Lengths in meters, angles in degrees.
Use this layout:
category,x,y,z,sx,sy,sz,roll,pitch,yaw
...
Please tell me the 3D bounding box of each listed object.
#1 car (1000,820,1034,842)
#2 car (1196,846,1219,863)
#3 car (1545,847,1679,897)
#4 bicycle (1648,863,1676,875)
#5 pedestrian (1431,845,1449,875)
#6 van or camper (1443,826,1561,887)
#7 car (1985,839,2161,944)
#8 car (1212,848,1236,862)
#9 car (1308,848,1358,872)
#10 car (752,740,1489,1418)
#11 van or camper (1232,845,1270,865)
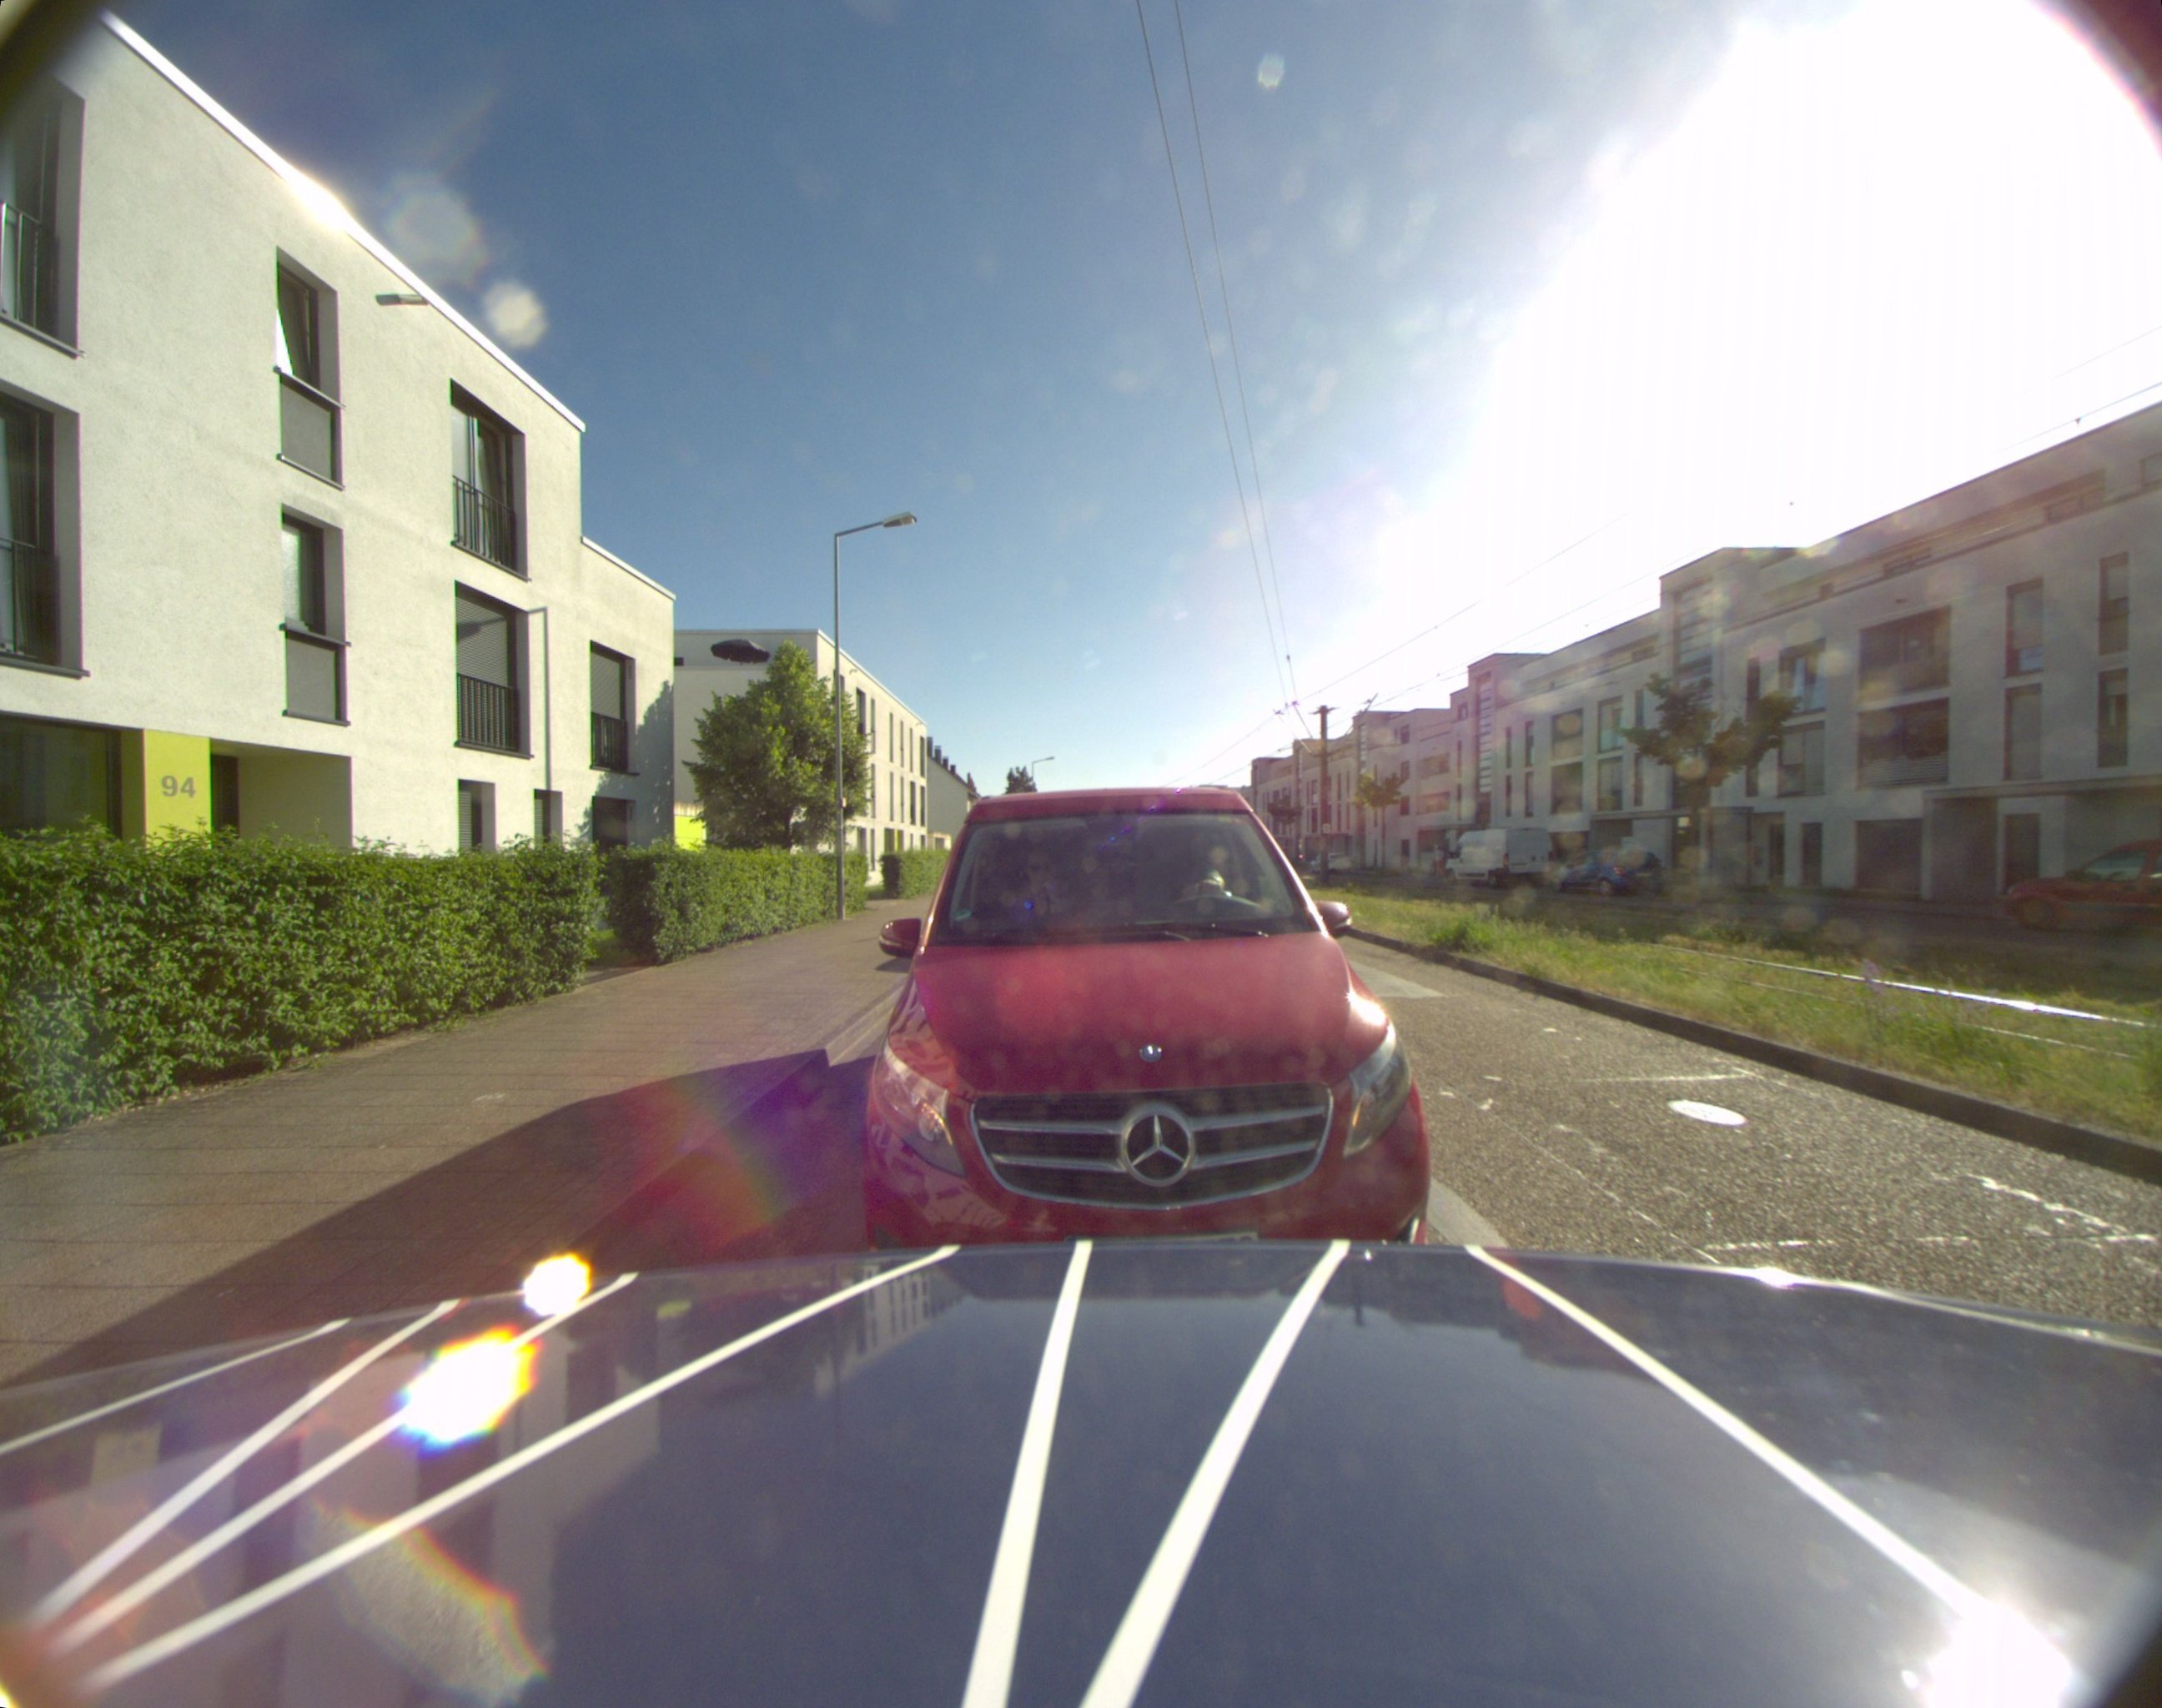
category,x,y,z,sx,sy,sz,roll,pitch,yaw
car,-7.367,-2.594,88.491,3.182,2.333,6.174,-2,1,1
car,15.595,0.088,93.839,1.788,2.002,3.998,-2,1,-4
car,18.250,0.576,26.361,1.934,1.604,3.835,0,1,0
bicycle,24.979,0.623,32.667,0.354,0.495,1.061,0,0,-1
pedestrian,19.719,0.312,41.706,0.619,1.634,0.612,-2,1,-7
van or camper,18.151,0.071,33.109,2.197,2.450,5.259,0,1,0
car,18.466,0.615,12.809,1.793,1.713,3.908,1,1,1
car,16.284,0.104,86.461,1.867,1.430,3.496,-2,0,-4
car,17.746,0.385,53.688,2.047,1.577,4.120,0,1,-3
car,0.154,0.670,4.807,2.127,1.958,5.083,-2,0,1
van or camper,16.759,0.066,75.175,2.273,1.838,6.284,-1,1,-1
